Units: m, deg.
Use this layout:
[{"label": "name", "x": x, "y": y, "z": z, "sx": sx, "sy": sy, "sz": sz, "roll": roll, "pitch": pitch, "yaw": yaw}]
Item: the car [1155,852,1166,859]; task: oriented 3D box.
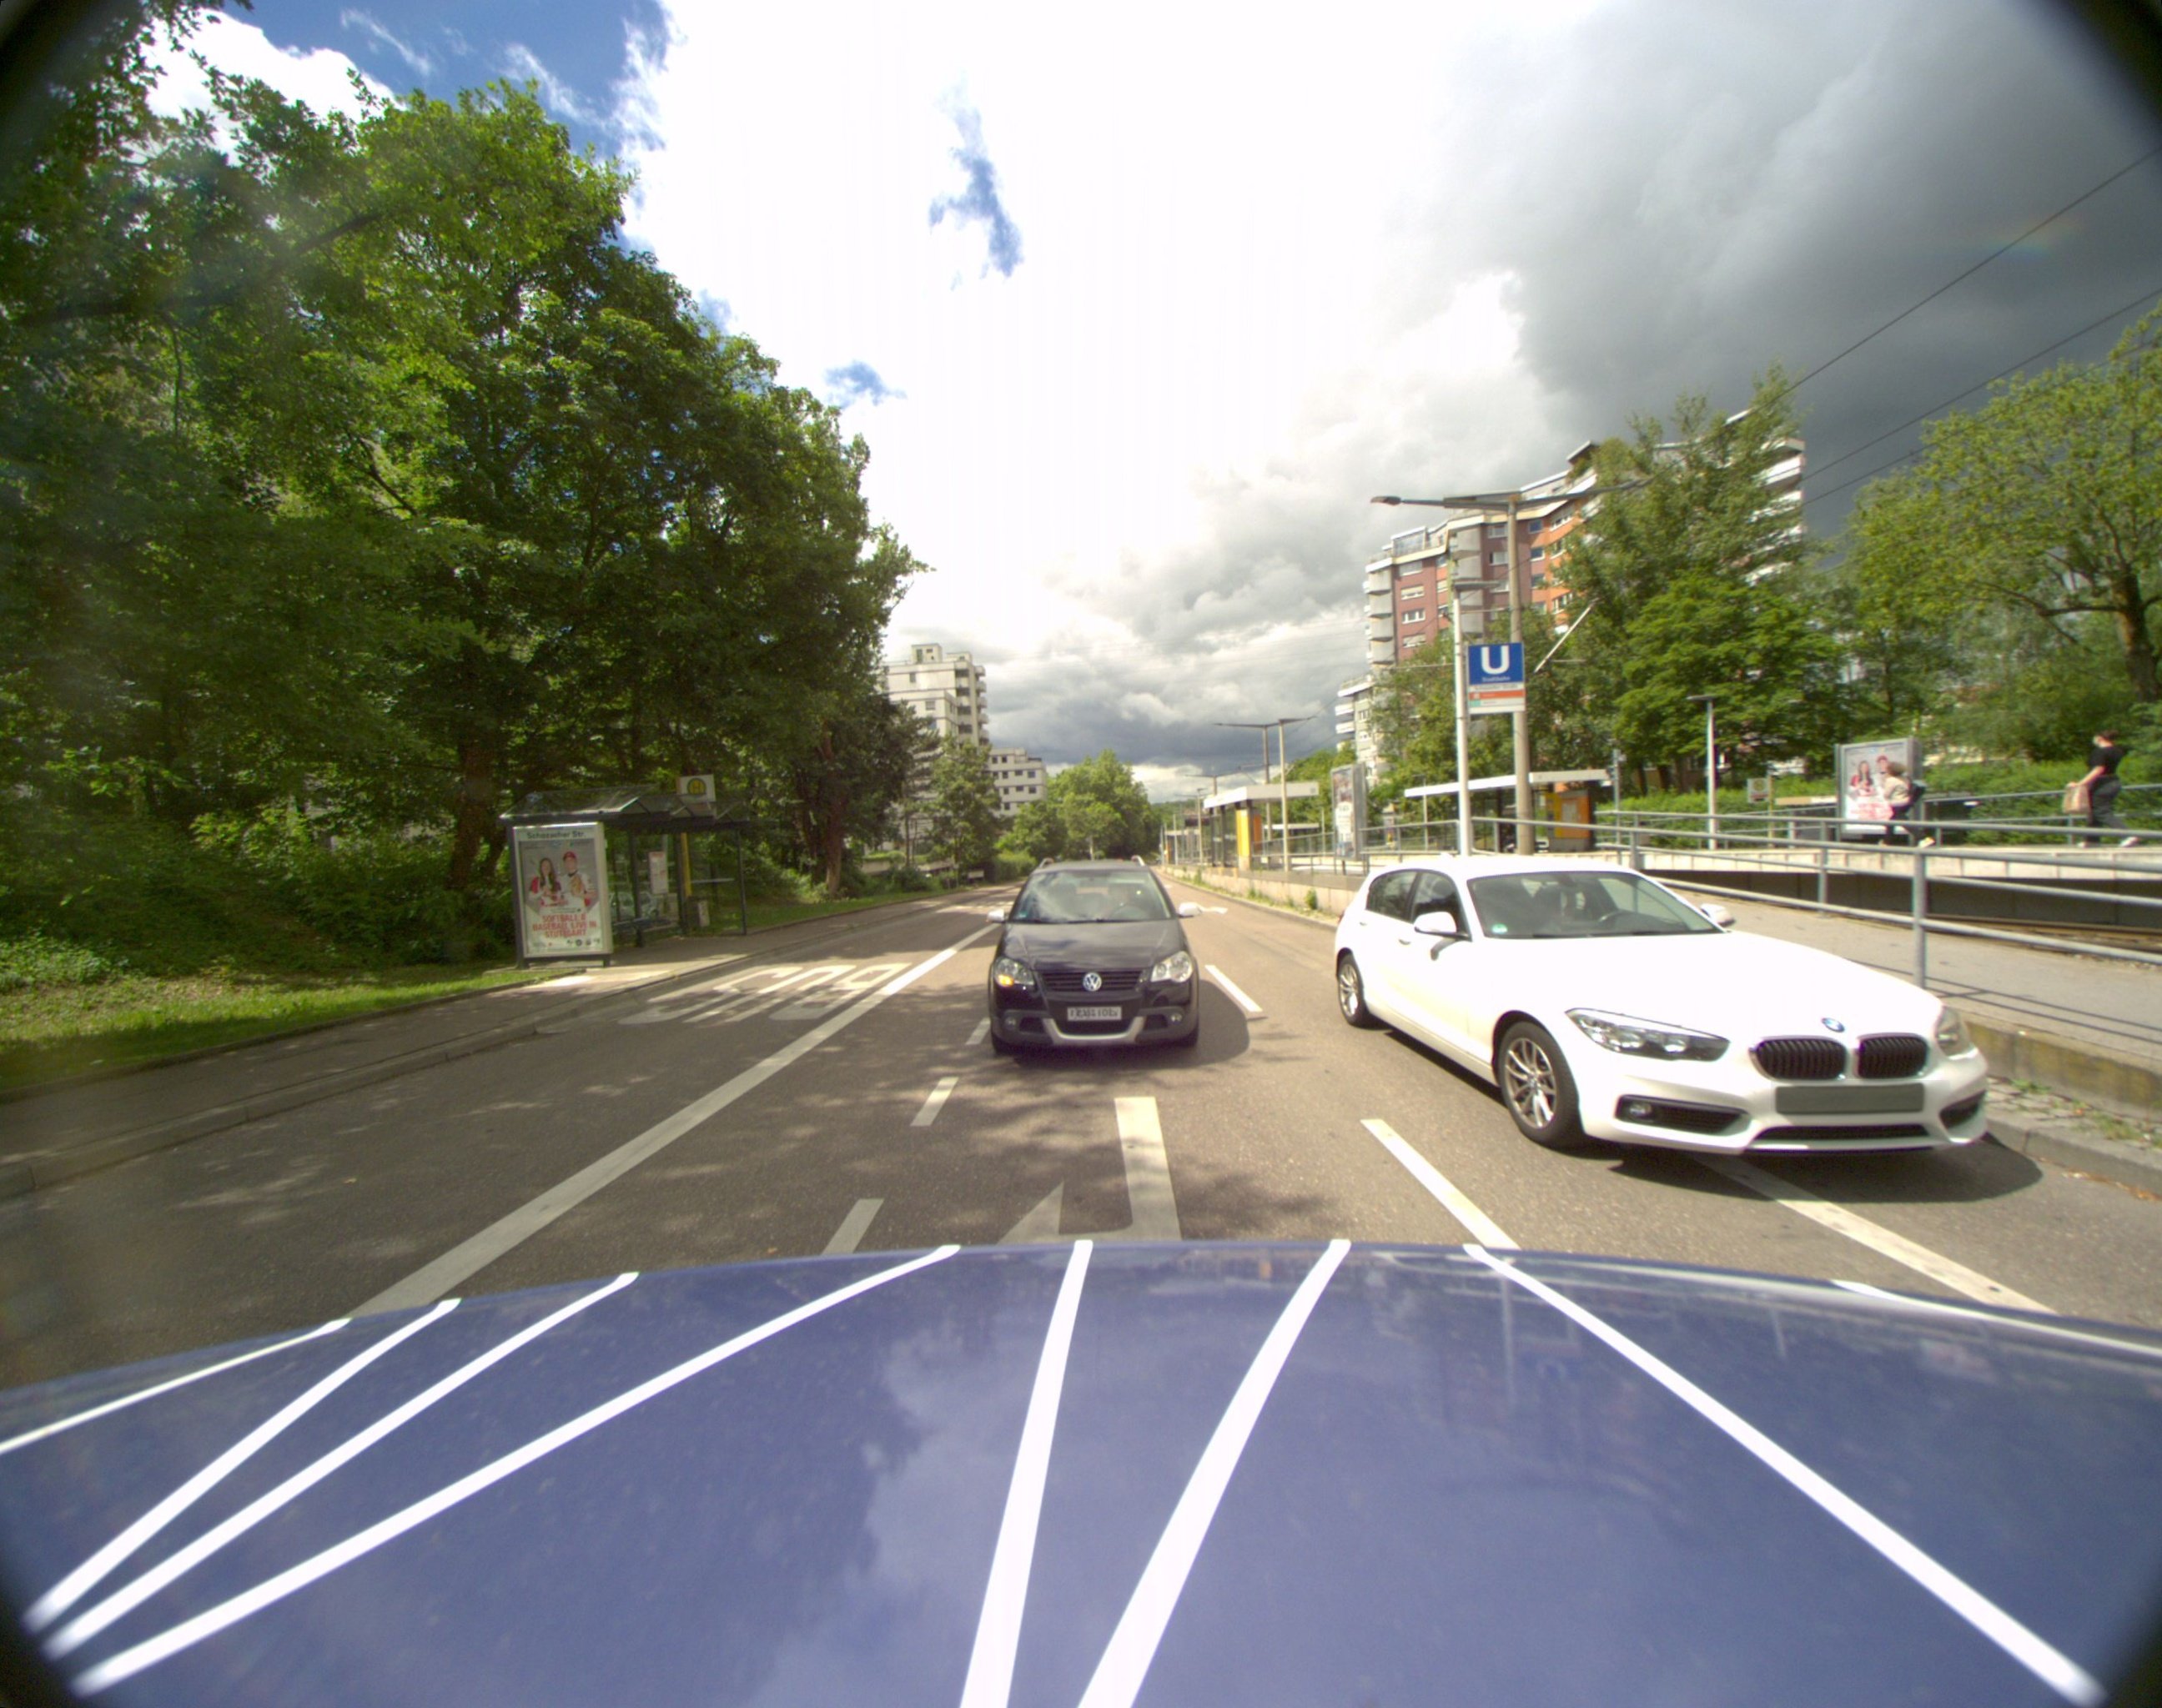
[{"label": "car", "x": 16.142, "y": 0.310, "z": 154.465, "sx": 1.805, "sy": 1.208, "sz": 4.021, "roll": -2, "pitch": 1, "yaw": 1}]

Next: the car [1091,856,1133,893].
[{"label": "car", "x": 1.435, "y": 0.941, "z": 36.512, "sx": 1.846, "sy": 1.553, "sz": 3.999, "roll": -2, "pitch": 1, "yaw": 1}]

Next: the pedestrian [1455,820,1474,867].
[{"label": "pedestrian", "x": 16.603, "y": -0.474, "z": 32.915, "sx": 0.517, "sy": 2.002, "sz": 0.557, "roll": -2, "pitch": 1, "yaw": 1}]

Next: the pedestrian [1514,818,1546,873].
[{"label": "pedestrian", "x": 16.239, "y": -0.301, "z": 27.498, "sx": 0.771, "sy": 1.920, "sz": 0.573, "roll": -2, "pitch": 1, "yaw": -1}]

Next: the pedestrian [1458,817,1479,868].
[{"label": "pedestrian", "x": 16.418, "y": -0.501, "z": 32.179, "sx": 0.532, "sy": 2.129, "sz": 0.608, "roll": -2, "pitch": 1, "yaw": 4}]

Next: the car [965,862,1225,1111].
[{"label": "car", "x": 0.109, "y": 0.908, "z": 6.980, "sx": 1.681, "sy": 1.529, "sz": 3.793, "roll": -2, "pitch": 1, "yaw": 0}]

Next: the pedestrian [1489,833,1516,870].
[{"label": "pedestrian", "x": 16.467, "y": -0.097, "z": 29.686, "sx": 0.645, "sy": 1.407, "sz": 0.658, "roll": -2, "pitch": 1, "yaw": 1}]

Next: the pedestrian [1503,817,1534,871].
[{"label": "pedestrian", "x": 16.382, "y": -0.371, "z": 28.449, "sx": 0.780, "sy": 2.002, "sz": 0.584, "roll": -2, "pitch": 1, "yaw": 1}]

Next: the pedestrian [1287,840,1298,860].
[{"label": "pedestrian", "x": 18.271, "y": -0.333, "z": 65.545, "sx": 0.774, "sy": 1.696, "sz": 0.766, "roll": -2, "pitch": 1, "yaw": 9}]

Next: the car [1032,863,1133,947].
[{"label": "car", "x": -0.007, "y": 0.960, "z": 15.859, "sx": 1.819, "sy": 1.483, "sz": 4.000, "roll": -1, "pitch": 0, "yaw": -1}]

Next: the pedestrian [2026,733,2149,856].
[{"label": "pedestrian", "x": 15.142, "y": -0.867, "z": 11.453, "sx": 0.865, "sy": 1.763, "sz": 0.747, "roll": -2, "pitch": 1, "yaw": 0}]

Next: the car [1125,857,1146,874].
[{"label": "car", "x": 4.907, "y": 1.007, "z": 68.328, "sx": 1.845, "sy": 1.409, "sz": 4.001, "roll": -2, "pitch": 1, "yaw": 4}]

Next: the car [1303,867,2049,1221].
[{"label": "car", "x": 3.091, "y": 0.823, "z": 5.281, "sx": 1.794, "sy": 1.442, "sz": 4.276, "roll": 0, "pitch": -1, "yaw": -1}]

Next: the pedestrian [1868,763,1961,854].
[{"label": "pedestrian", "x": 15.209, "y": -0.813, "z": 13.889, "sx": 0.865, "sy": 1.597, "sz": 0.747, "roll": -2, "pitch": 1, "yaw": 0}]
